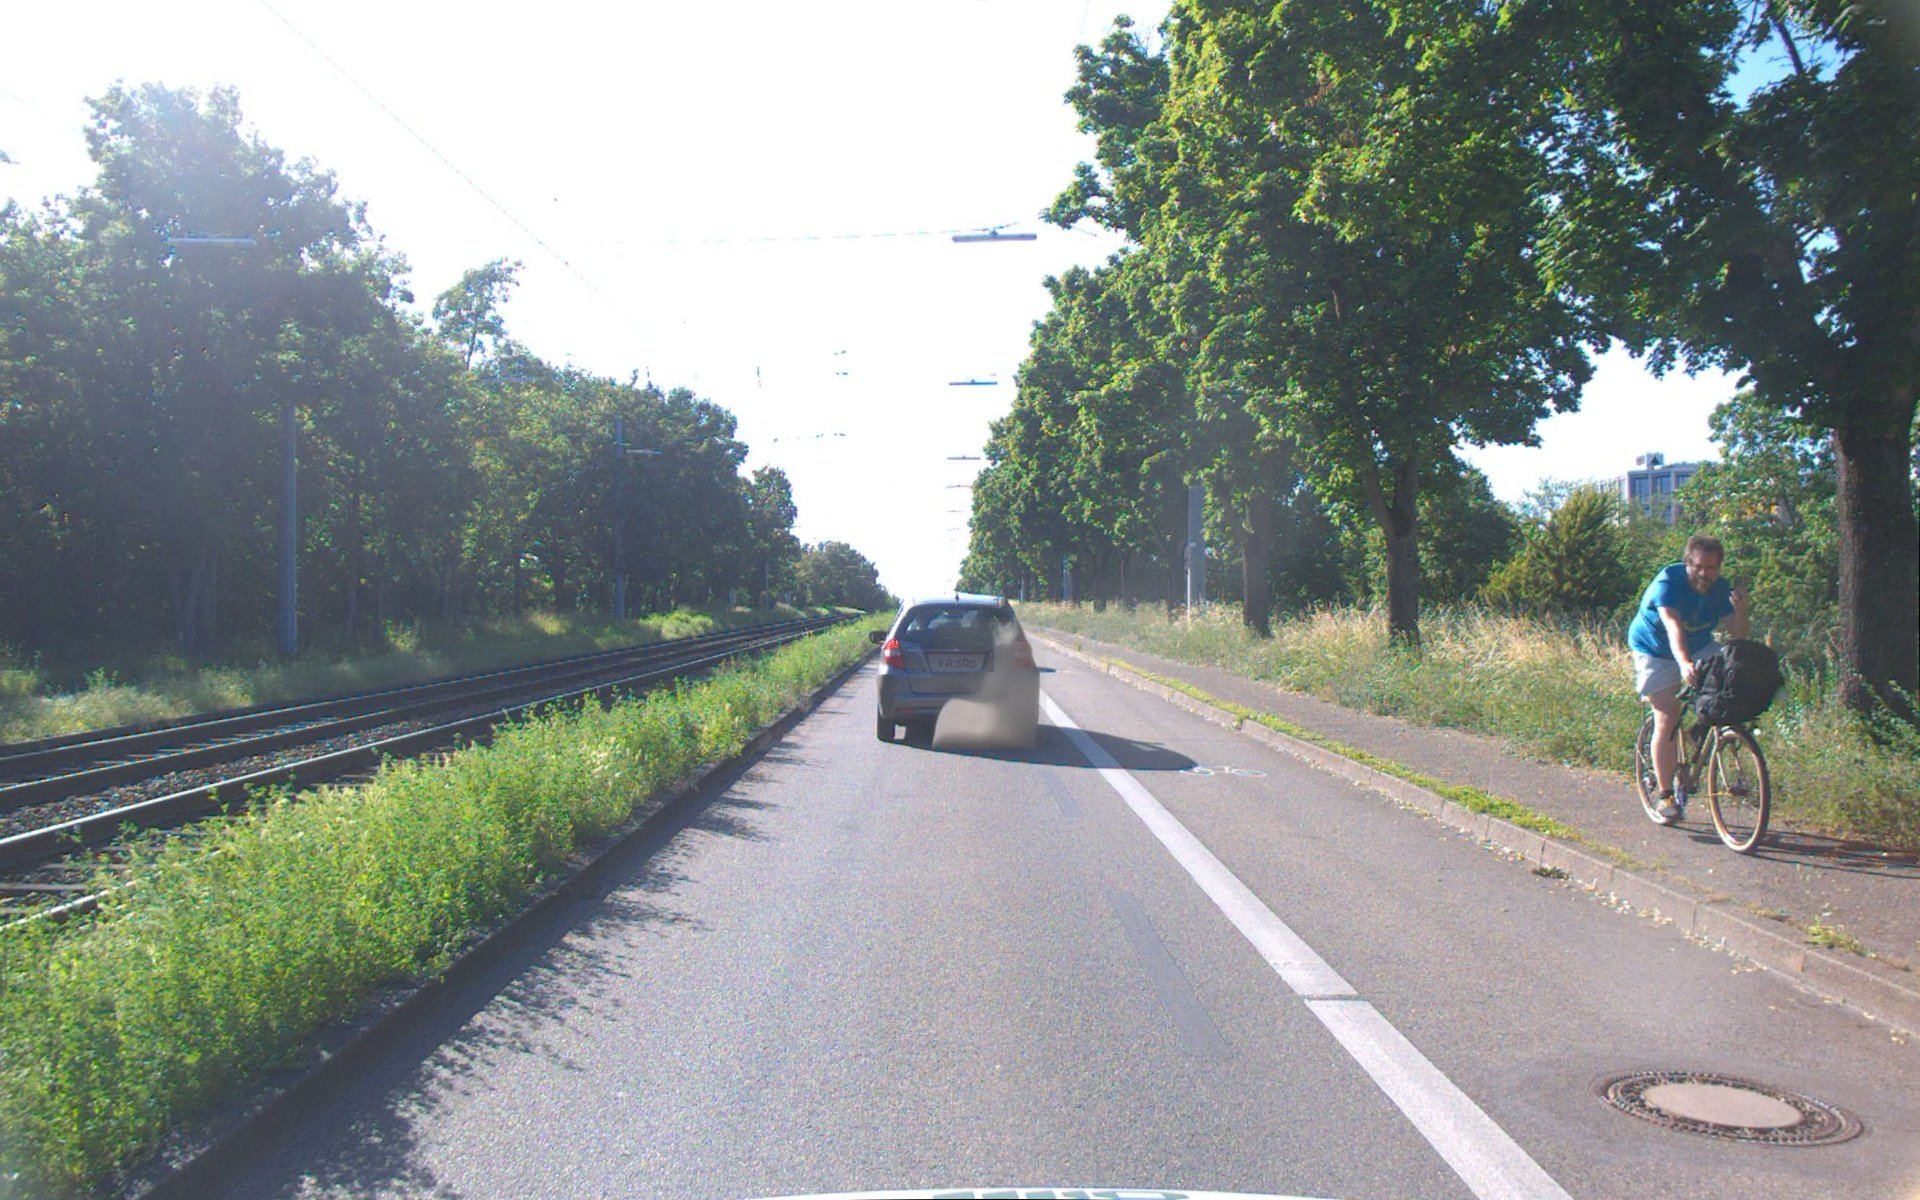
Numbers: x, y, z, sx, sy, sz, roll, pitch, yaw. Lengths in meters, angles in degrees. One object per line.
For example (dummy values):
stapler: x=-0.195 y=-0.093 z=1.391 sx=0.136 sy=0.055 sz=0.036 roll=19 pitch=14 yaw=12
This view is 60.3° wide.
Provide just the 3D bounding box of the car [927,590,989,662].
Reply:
car: x=-0.067 y=0.605 z=37.657 sx=1.324 sy=1.554 sz=3.122 roll=-1 pitch=-1 yaw=-1

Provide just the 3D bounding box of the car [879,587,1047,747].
car: x=-0.025 y=0.654 z=18.362 sx=1.637 sy=1.542 sz=3.672 roll=2 pitch=1 yaw=-2

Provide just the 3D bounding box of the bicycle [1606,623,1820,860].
bicycle: x=4.315 y=0.760 z=9.597 sx=0.410 sy=1.209 sz=1.721 roll=-1 pitch=0 yaw=-1

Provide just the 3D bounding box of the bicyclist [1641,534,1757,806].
bicyclist: x=4.316 y=0.396 z=9.679 sx=0.397 sy=1.533 sz=0.574 roll=-1 pitch=0 yaw=-1
